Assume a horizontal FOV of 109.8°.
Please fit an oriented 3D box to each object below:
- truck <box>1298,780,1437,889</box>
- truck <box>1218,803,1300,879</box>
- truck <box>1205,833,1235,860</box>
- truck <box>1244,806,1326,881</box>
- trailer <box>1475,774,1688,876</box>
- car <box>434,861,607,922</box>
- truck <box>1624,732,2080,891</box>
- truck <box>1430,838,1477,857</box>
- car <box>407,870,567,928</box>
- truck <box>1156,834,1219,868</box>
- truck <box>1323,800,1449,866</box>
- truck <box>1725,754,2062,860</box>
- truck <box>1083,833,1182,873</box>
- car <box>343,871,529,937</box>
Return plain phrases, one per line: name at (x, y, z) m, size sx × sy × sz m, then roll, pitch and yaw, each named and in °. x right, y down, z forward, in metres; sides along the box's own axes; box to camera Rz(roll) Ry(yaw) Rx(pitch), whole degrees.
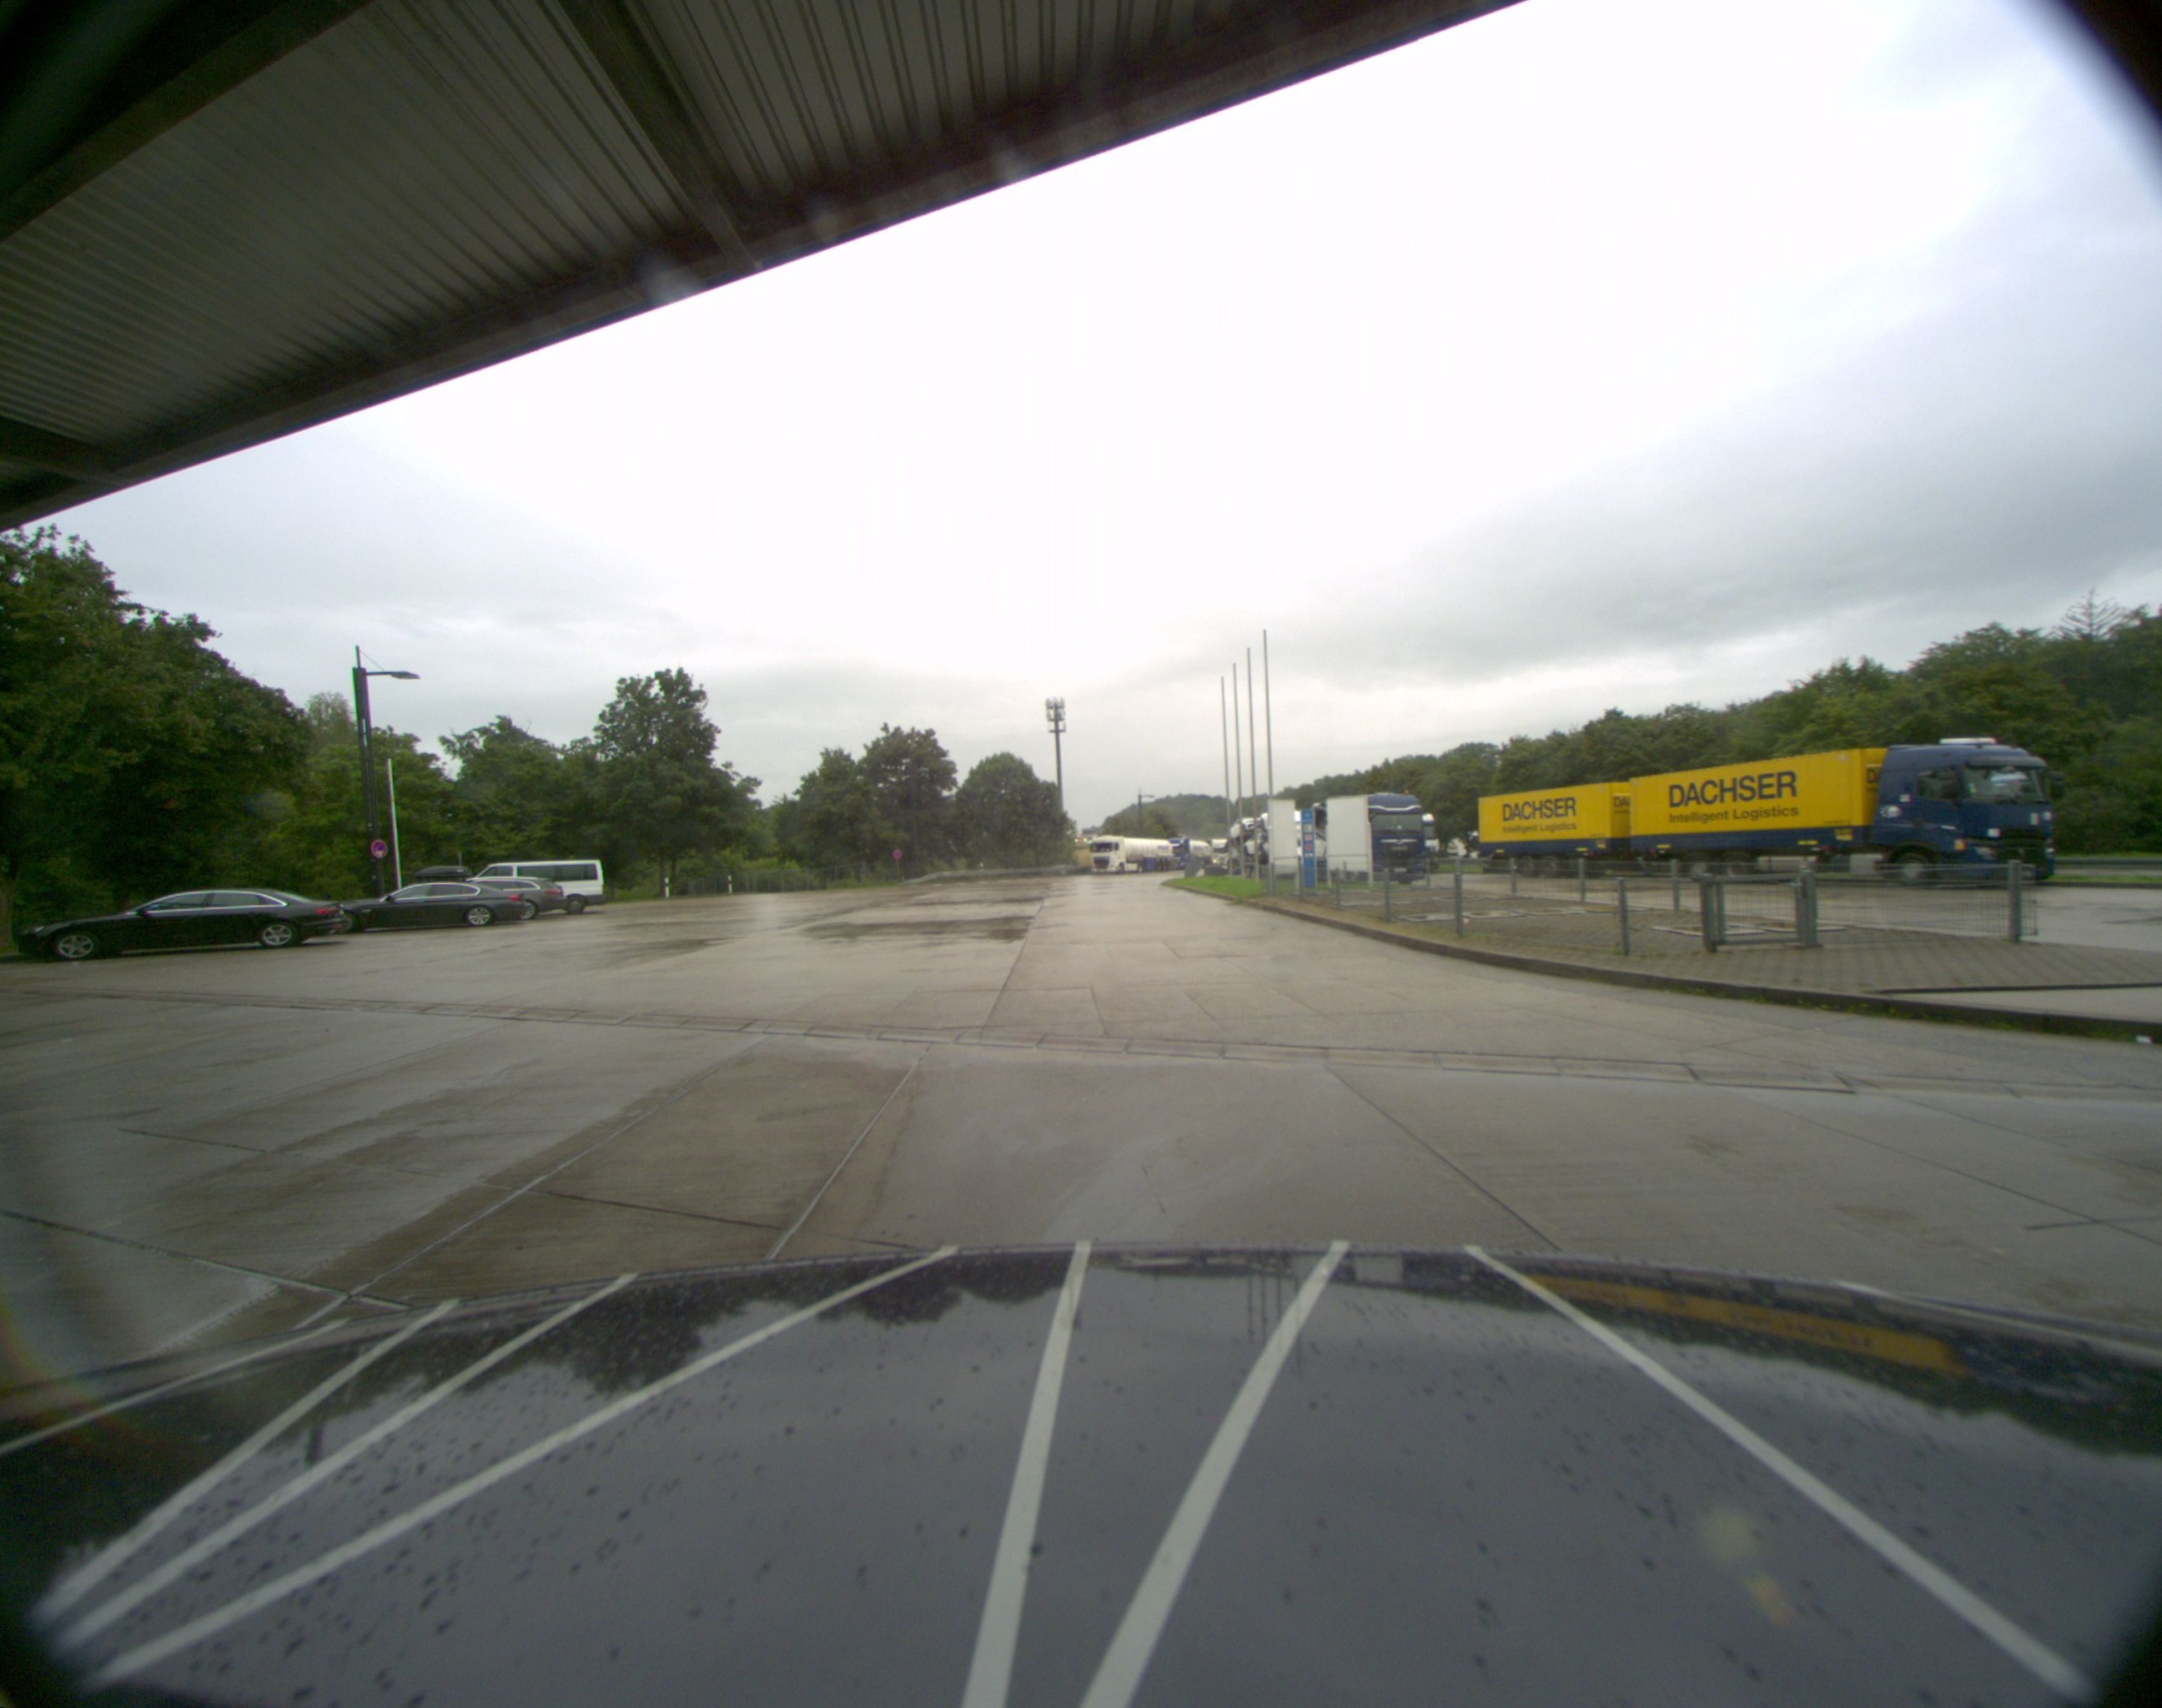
truck at (12.183, -0.789, 33.161) m, size 2.665 × 4.157 × 7.103 m, roll -2°, pitch 0°, yaw -6°
truck at (10.570, -0.720, 45.759) m, size 2.665 × 4.157 × 6.618 m, roll -2°, pitch 1°, yaw -6°
truck at (22.133, -1.196, 121.682) m, size 3.143 × 4.105 × 11.523 m, roll -2°, pitch 1°, yaw 3°
truck at (11.046, -0.551, 41.569) m, size 2.665 × 3.750 × 4.747 m, roll -2°, pitch 1°, yaw -6°
trailer at (21.791, -1.175, 33.928) m, size 2.757 × 3.894 × 8.700 m, roll -2°, pitch 1°, yaw -9°
car at (-20.429, 1.289, 27.978) m, size 4.898 × 1.938 × 2.310 m, roll -2°, pitch 0°, yaw -35°
truck at (23.152, -1.119, 24.307) m, size 2.757 × 3.894 × 10.678 m, roll -2°, pitch 1°, yaw -8°
truck at (45.142, -0.813, 92.300) m, size 2.082 × 2.112 × 5.827 m, roll -2°, pitch 1°, yaw -10°
car at (-19.473, 1.428, 25.141) m, size 4.007 × 1.650 × 1.596 m, roll -2°, pitch 0°, yaw -35°
truck at (12.783, -0.396, 89.670) m, size 3.506 × 3.584 × 14.686 m, roll -2°, pitch 0°, yaw 23°
truck at (19.883, -1.290, 50.549) m, size 2.757 × 3.894 × 10.678 m, roll -2°, pitch 1°, yaw -8°
truck at (33.910, -1.749, 32.693) m, size 2.421 × 3.785 × 10.223 m, roll -2°, pitch 1°, yaw -10°
truck at (5.455, -0.155, 75.189) m, size 3.505 × 3.584 × 14.426 m, roll -2°, pitch 0°, yaw 31°
car at (-18.878, 1.395, 22.489) m, size 4.007 × 1.650 × 1.596 m, roll -2°, pitch 0°, yaw -35°
